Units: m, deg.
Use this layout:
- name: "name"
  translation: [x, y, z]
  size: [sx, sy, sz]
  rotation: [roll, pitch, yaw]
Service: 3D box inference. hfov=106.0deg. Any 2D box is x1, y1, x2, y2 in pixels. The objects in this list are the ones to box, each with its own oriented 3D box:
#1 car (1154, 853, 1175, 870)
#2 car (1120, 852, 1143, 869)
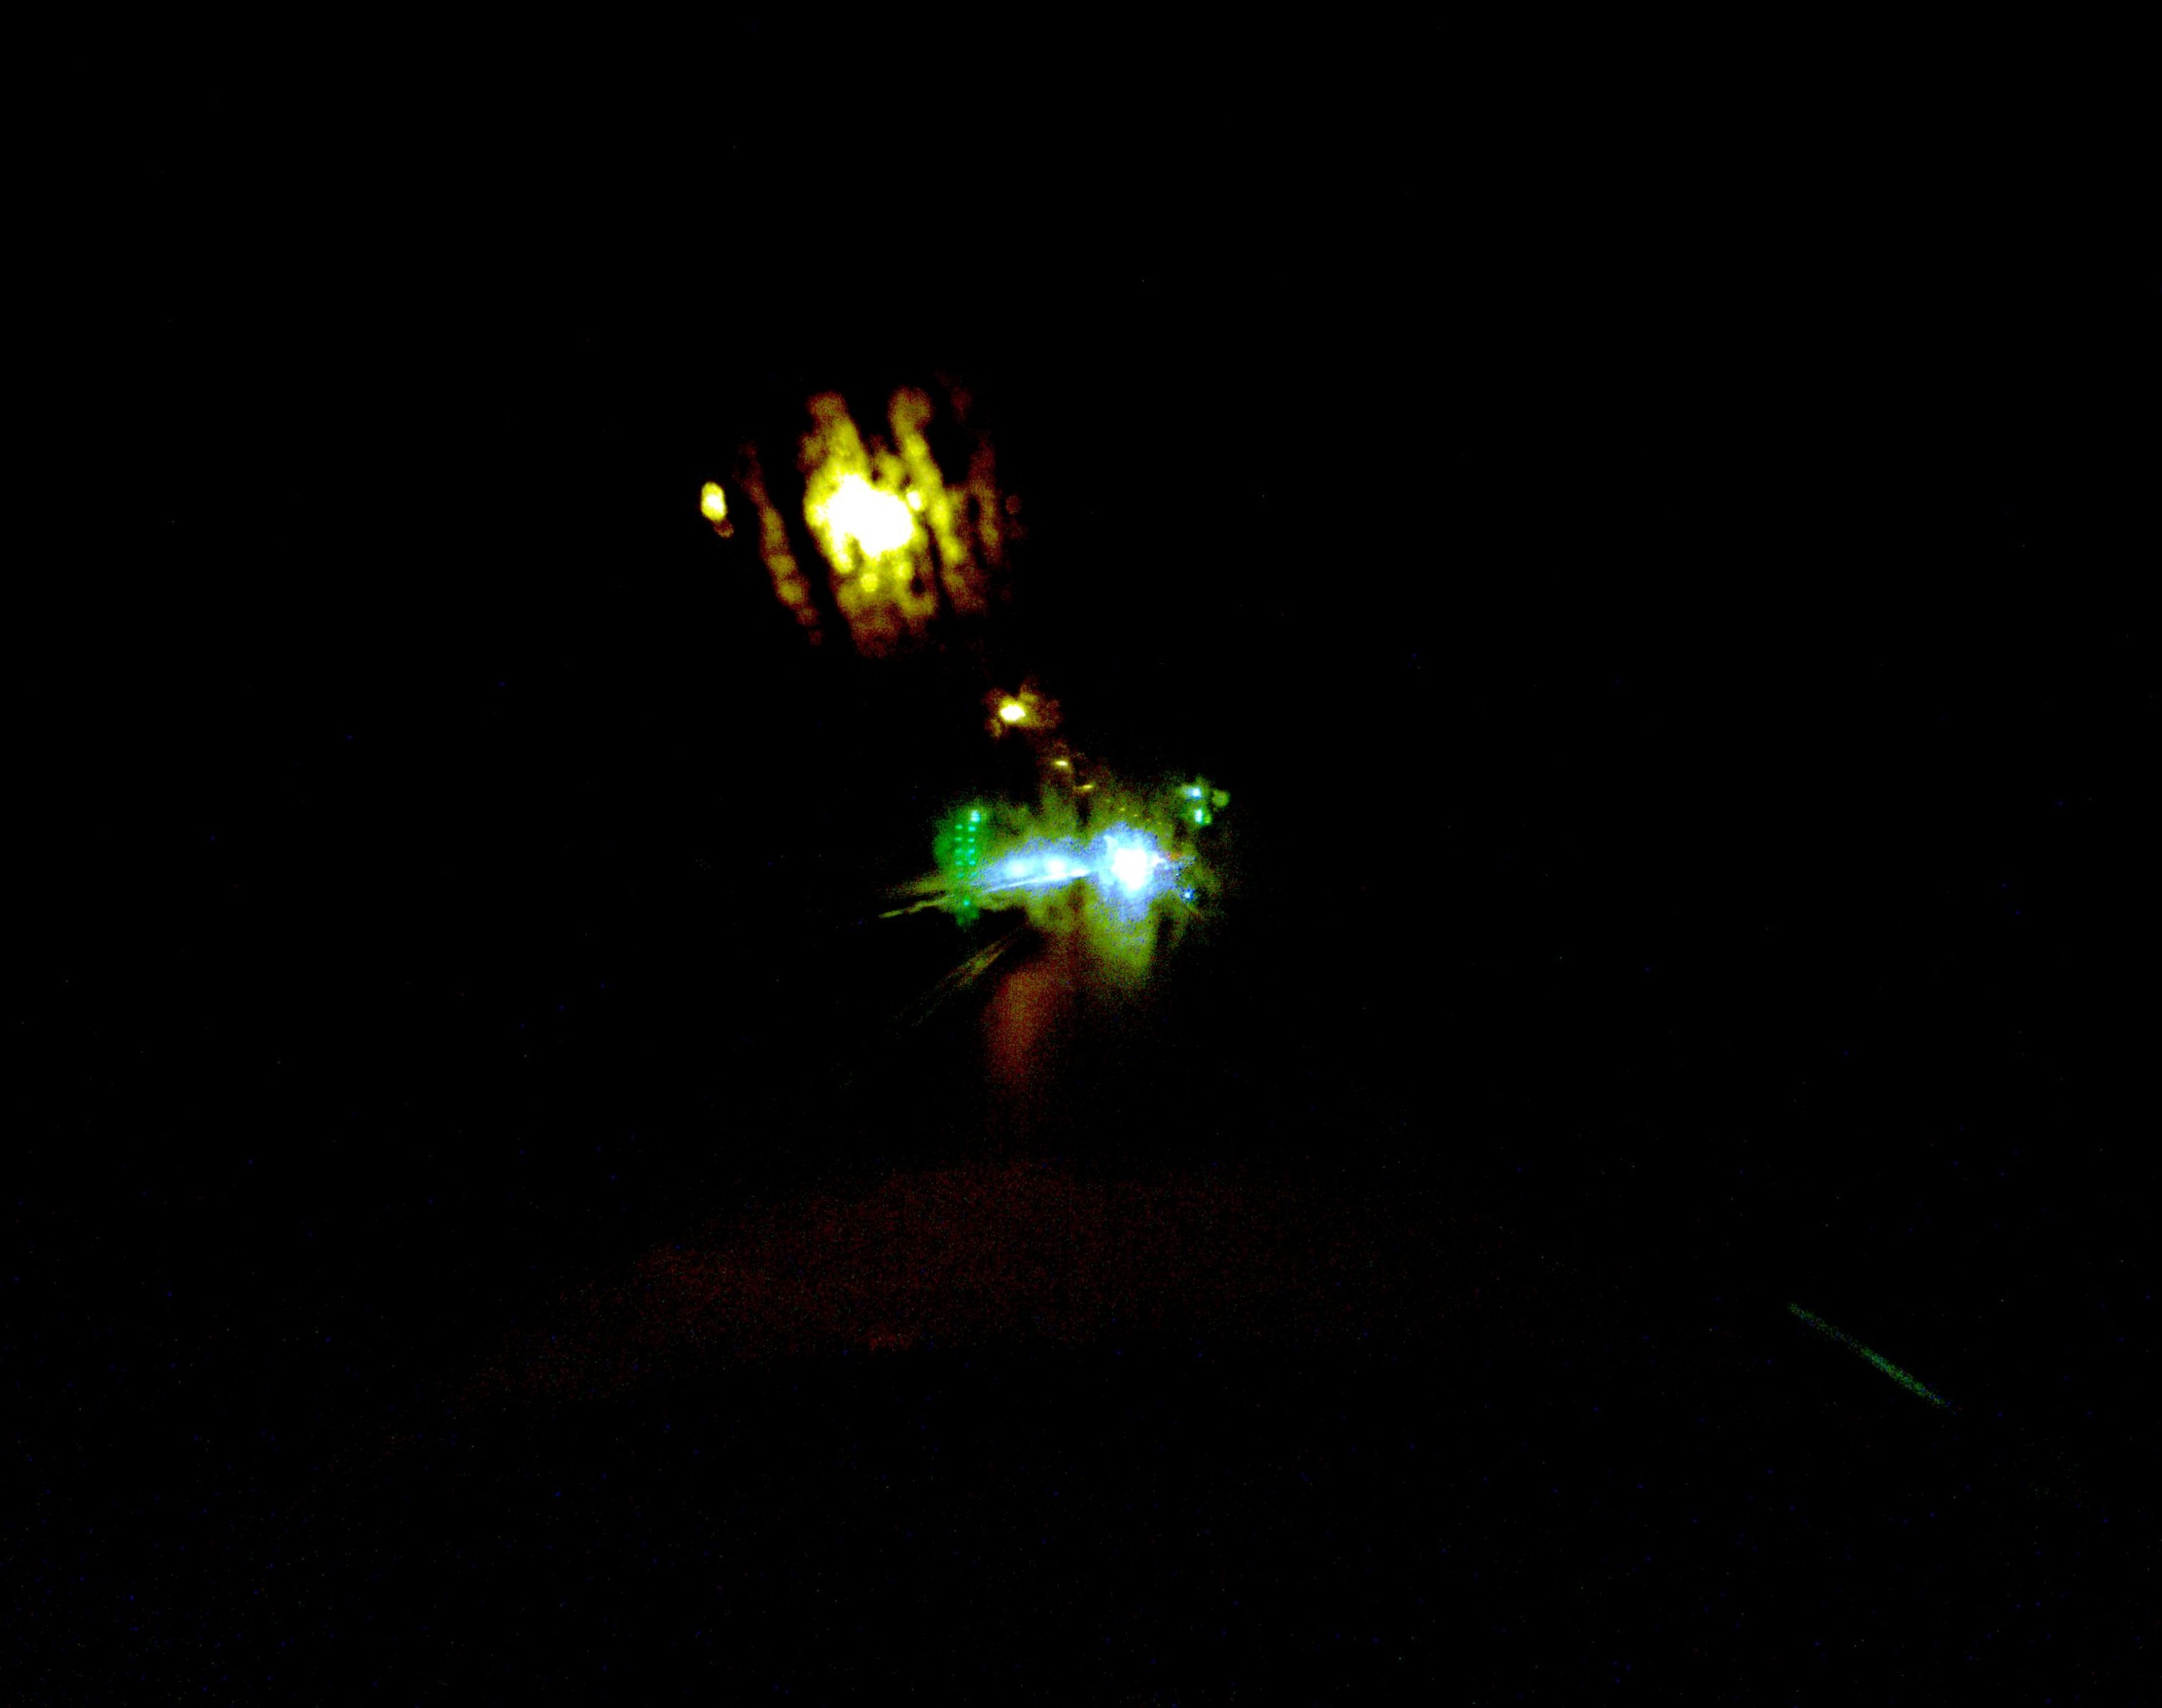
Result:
- name: "car"
  translation: [8.102, 0.689, 79.531]
  size: [1.984, 1.650, 4.006]
  rotation: [0, 0, 5]
- name: "car"
  translation: [4.886, 0.614, 78.878]
  size: [1.983, 1.650, 4.008]
  rotation: [0, 0, 7]
